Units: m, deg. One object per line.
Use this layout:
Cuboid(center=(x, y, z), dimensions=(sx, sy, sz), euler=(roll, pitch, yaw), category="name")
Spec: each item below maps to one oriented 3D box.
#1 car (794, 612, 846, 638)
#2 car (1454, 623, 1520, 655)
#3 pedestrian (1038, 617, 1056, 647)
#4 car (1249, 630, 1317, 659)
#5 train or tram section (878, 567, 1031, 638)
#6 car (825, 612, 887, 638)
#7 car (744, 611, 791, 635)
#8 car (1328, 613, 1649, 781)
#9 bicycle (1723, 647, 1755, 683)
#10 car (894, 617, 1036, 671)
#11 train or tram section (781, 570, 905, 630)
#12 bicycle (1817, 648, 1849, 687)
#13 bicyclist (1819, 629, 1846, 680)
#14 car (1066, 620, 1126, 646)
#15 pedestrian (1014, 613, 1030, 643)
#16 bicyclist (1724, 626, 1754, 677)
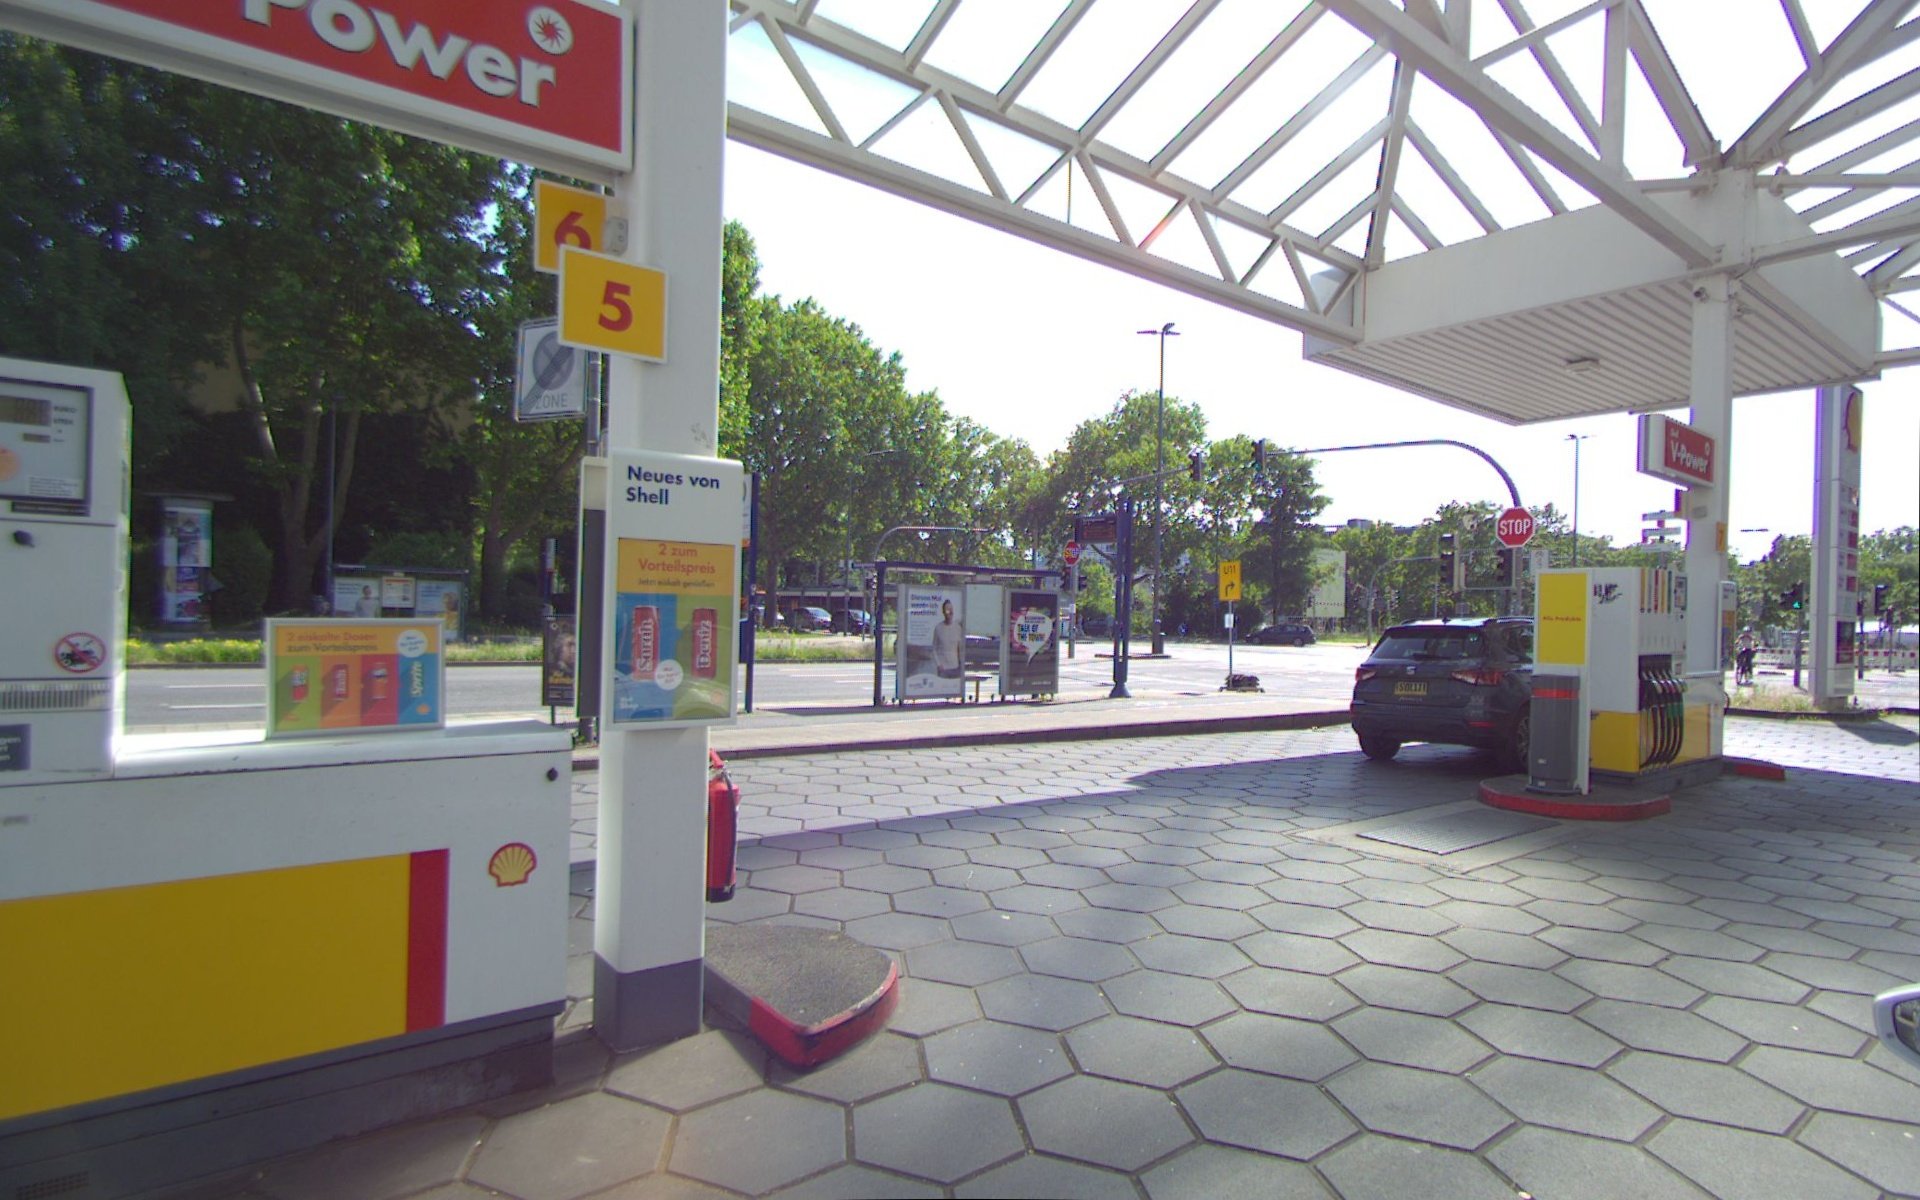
Cuboid(center=(-9.492, 1.701, 67.852), dimensions=(1.851, 1.711, 3.960), euler=(2, -3, -36), category="car")
Cuboid(center=(35.505, 2.621, 67.675), dimensions=(4.397, 2.040, 1.983), euler=(2, -3, -32), category="car")
Cuboid(center=(5.153, 1.883, 59.556), dimensions=(0.677, 1.745, 0.866), euler=(-1, -3, 41), category="pedestrian")
Cuboid(center=(21.165, 2.904, 65.827), dimensions=(4.129, 1.829, 2.000), euler=(0, -2, 22), category="car")
Cuboid(center=(-0.795, 0.151, 71.155), dimensions=(2.308, 4.549, 14.783), euler=(2, -1, -37), category="train or tram section")
Cuboid(center=(-6.491, 1.599, 62.562), dimensions=(1.856, 1.532, 3.949), euler=(3, -3, -43), category="car")
Cuboid(center=(-14.155, 1.715, 73.810), dimensions=(1.851, 1.711, 3.960), euler=(2, -3, -36), category="car")
Cuboid(center=(5.995, 0.990, 11.225), dimensions=(3.965, 1.552, 1.730), euler=(3, -2, -38), category="car")
Cuboid(center=(25.430, 2.110, 32.793), dimensions=(0.631, 1.096, 2.015), euler=(1, -1, 43), category="bicycle")
Cuboid(center=(0.175, 1.291, 29.472), dimensions=(3.967, 1.385, 1.666), euler=(2, 1, -38), category="car")
Cuboid(center=(-10.020, -0.040, 83.266), dimensions=(2.308, 4.549, 15.754), euler=(2, -1, -37), category="train or tram section")
Cuboid(center=(27.534, 2.113, 31.704), dimensions=(0.516, 1.096, 1.861), euler=(2, 1, 34), category="bicycle")
Cuboid(center=(27.569, 1.701, 31.733), dimensions=(0.526, 1.564, 0.863), euler=(2, -1, 36), category="bicyclist")
Cuboid(center=(10.432, 2.522, 77.179), dimensions=(4.146, 1.829, 1.991), euler=(-1, 3, 38), category="car")
Cuboid(center=(3.561, 1.613, 57.737), dimensions=(0.780, 1.696, 0.554), euler=(3, -3, -42), category="pedestrian")
Cuboid(center=(25.410, 1.675, 32.768), dimensions=(0.631, 1.601, 1.166), euler=(1, 0, 44), category="bicyclist")
